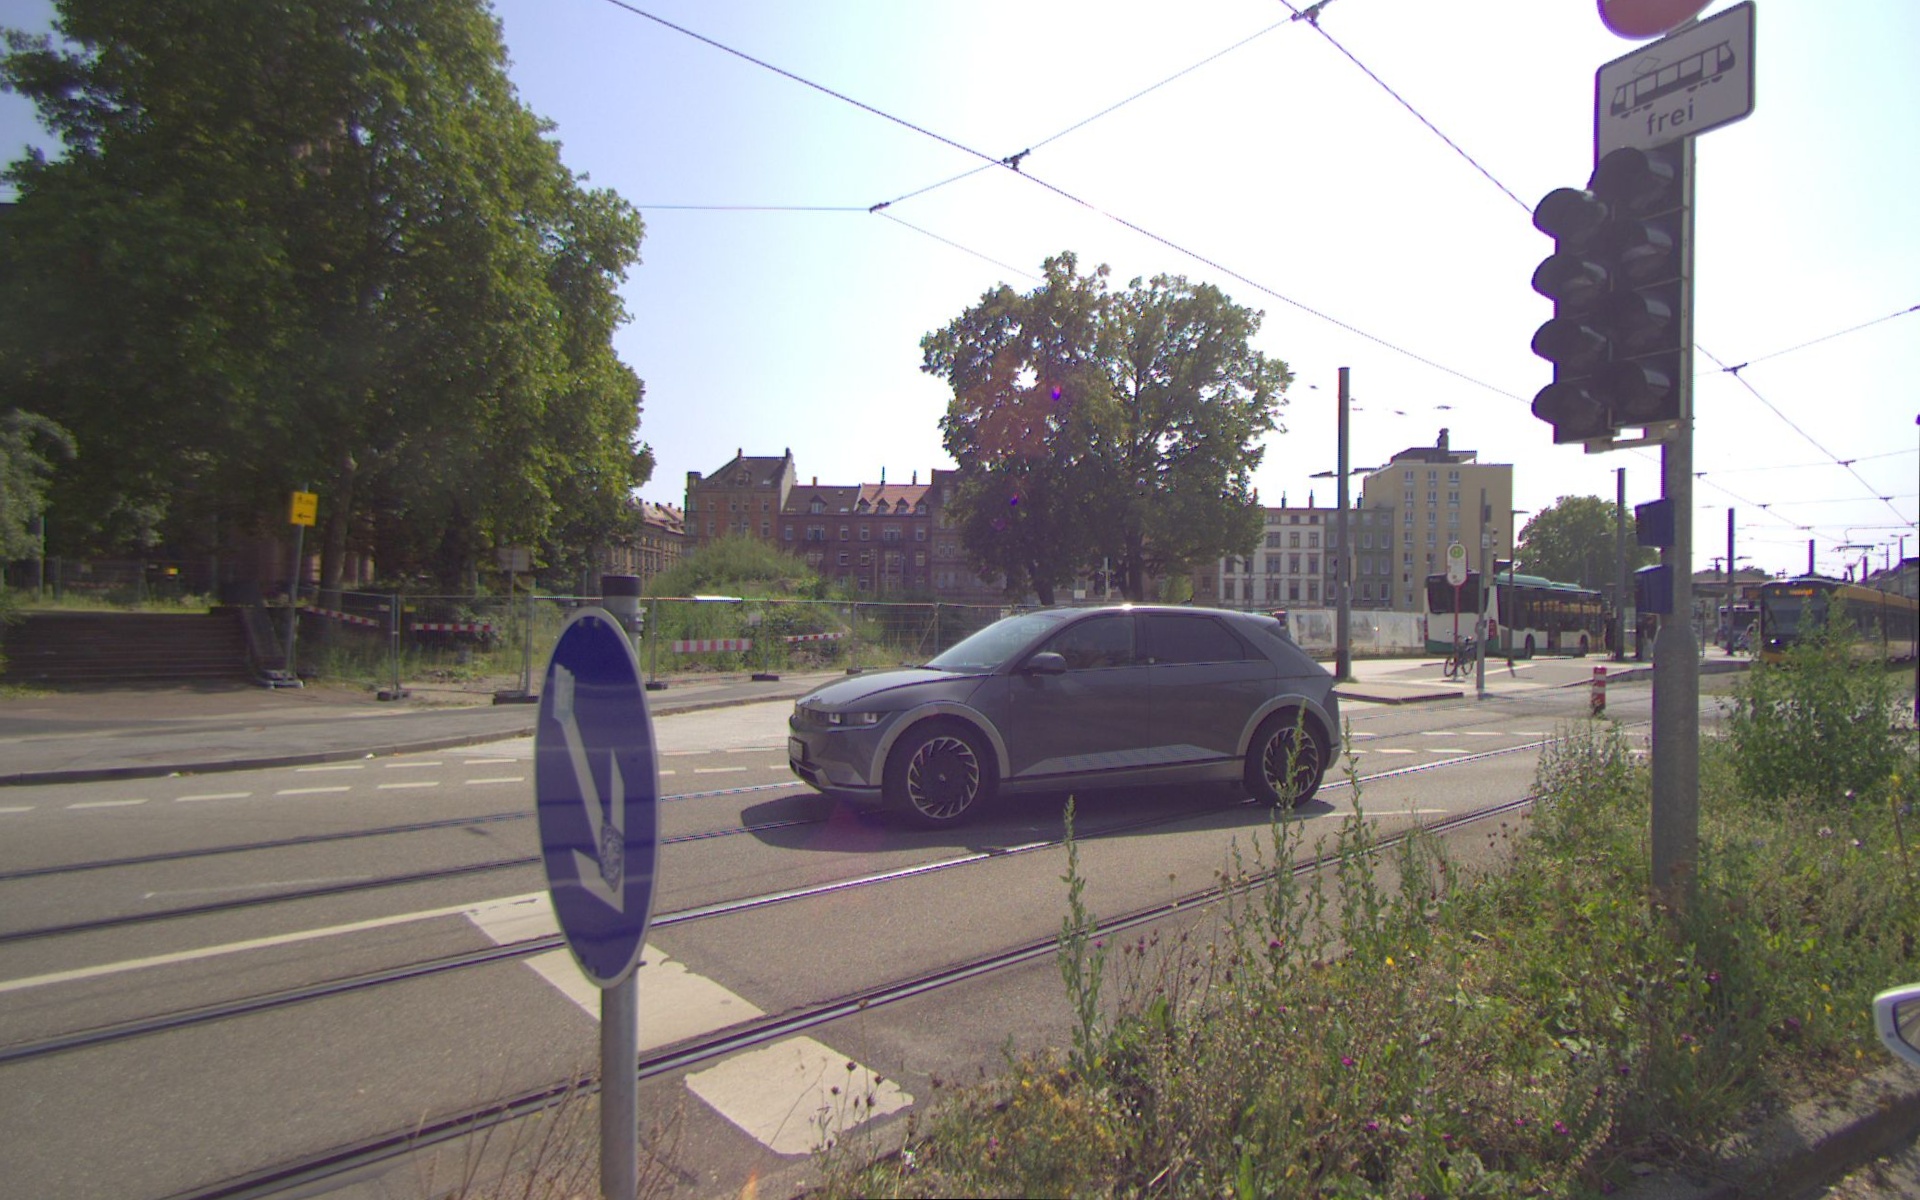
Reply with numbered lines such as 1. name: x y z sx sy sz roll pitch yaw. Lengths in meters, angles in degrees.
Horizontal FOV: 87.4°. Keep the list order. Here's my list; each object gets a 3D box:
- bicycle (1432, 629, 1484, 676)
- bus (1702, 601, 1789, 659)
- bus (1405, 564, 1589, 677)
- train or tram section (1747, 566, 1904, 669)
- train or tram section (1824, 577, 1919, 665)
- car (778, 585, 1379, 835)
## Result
1. bicycle: 13.578 1.418 27.369 1.690 1.239 0.603 2 -1 -38
2. bus: 54.325 2.079 69.310 10.335 3.776 2.686 2 -1 -41
3. bus: 20.948 0.827 38.758 10.519 3.825 2.930 2 -1 -42
4. train or tram section: 36.567 0.831 41.979 17.611 3.595 2.830 2 -1 -42
5. train or tram section: 50.258 1.214 54.244 18.994 4.122 2.861 2 -1 -42
6. car: 0.974 0.776 8.223 4.603 1.632 1.769 1 -1 -21
